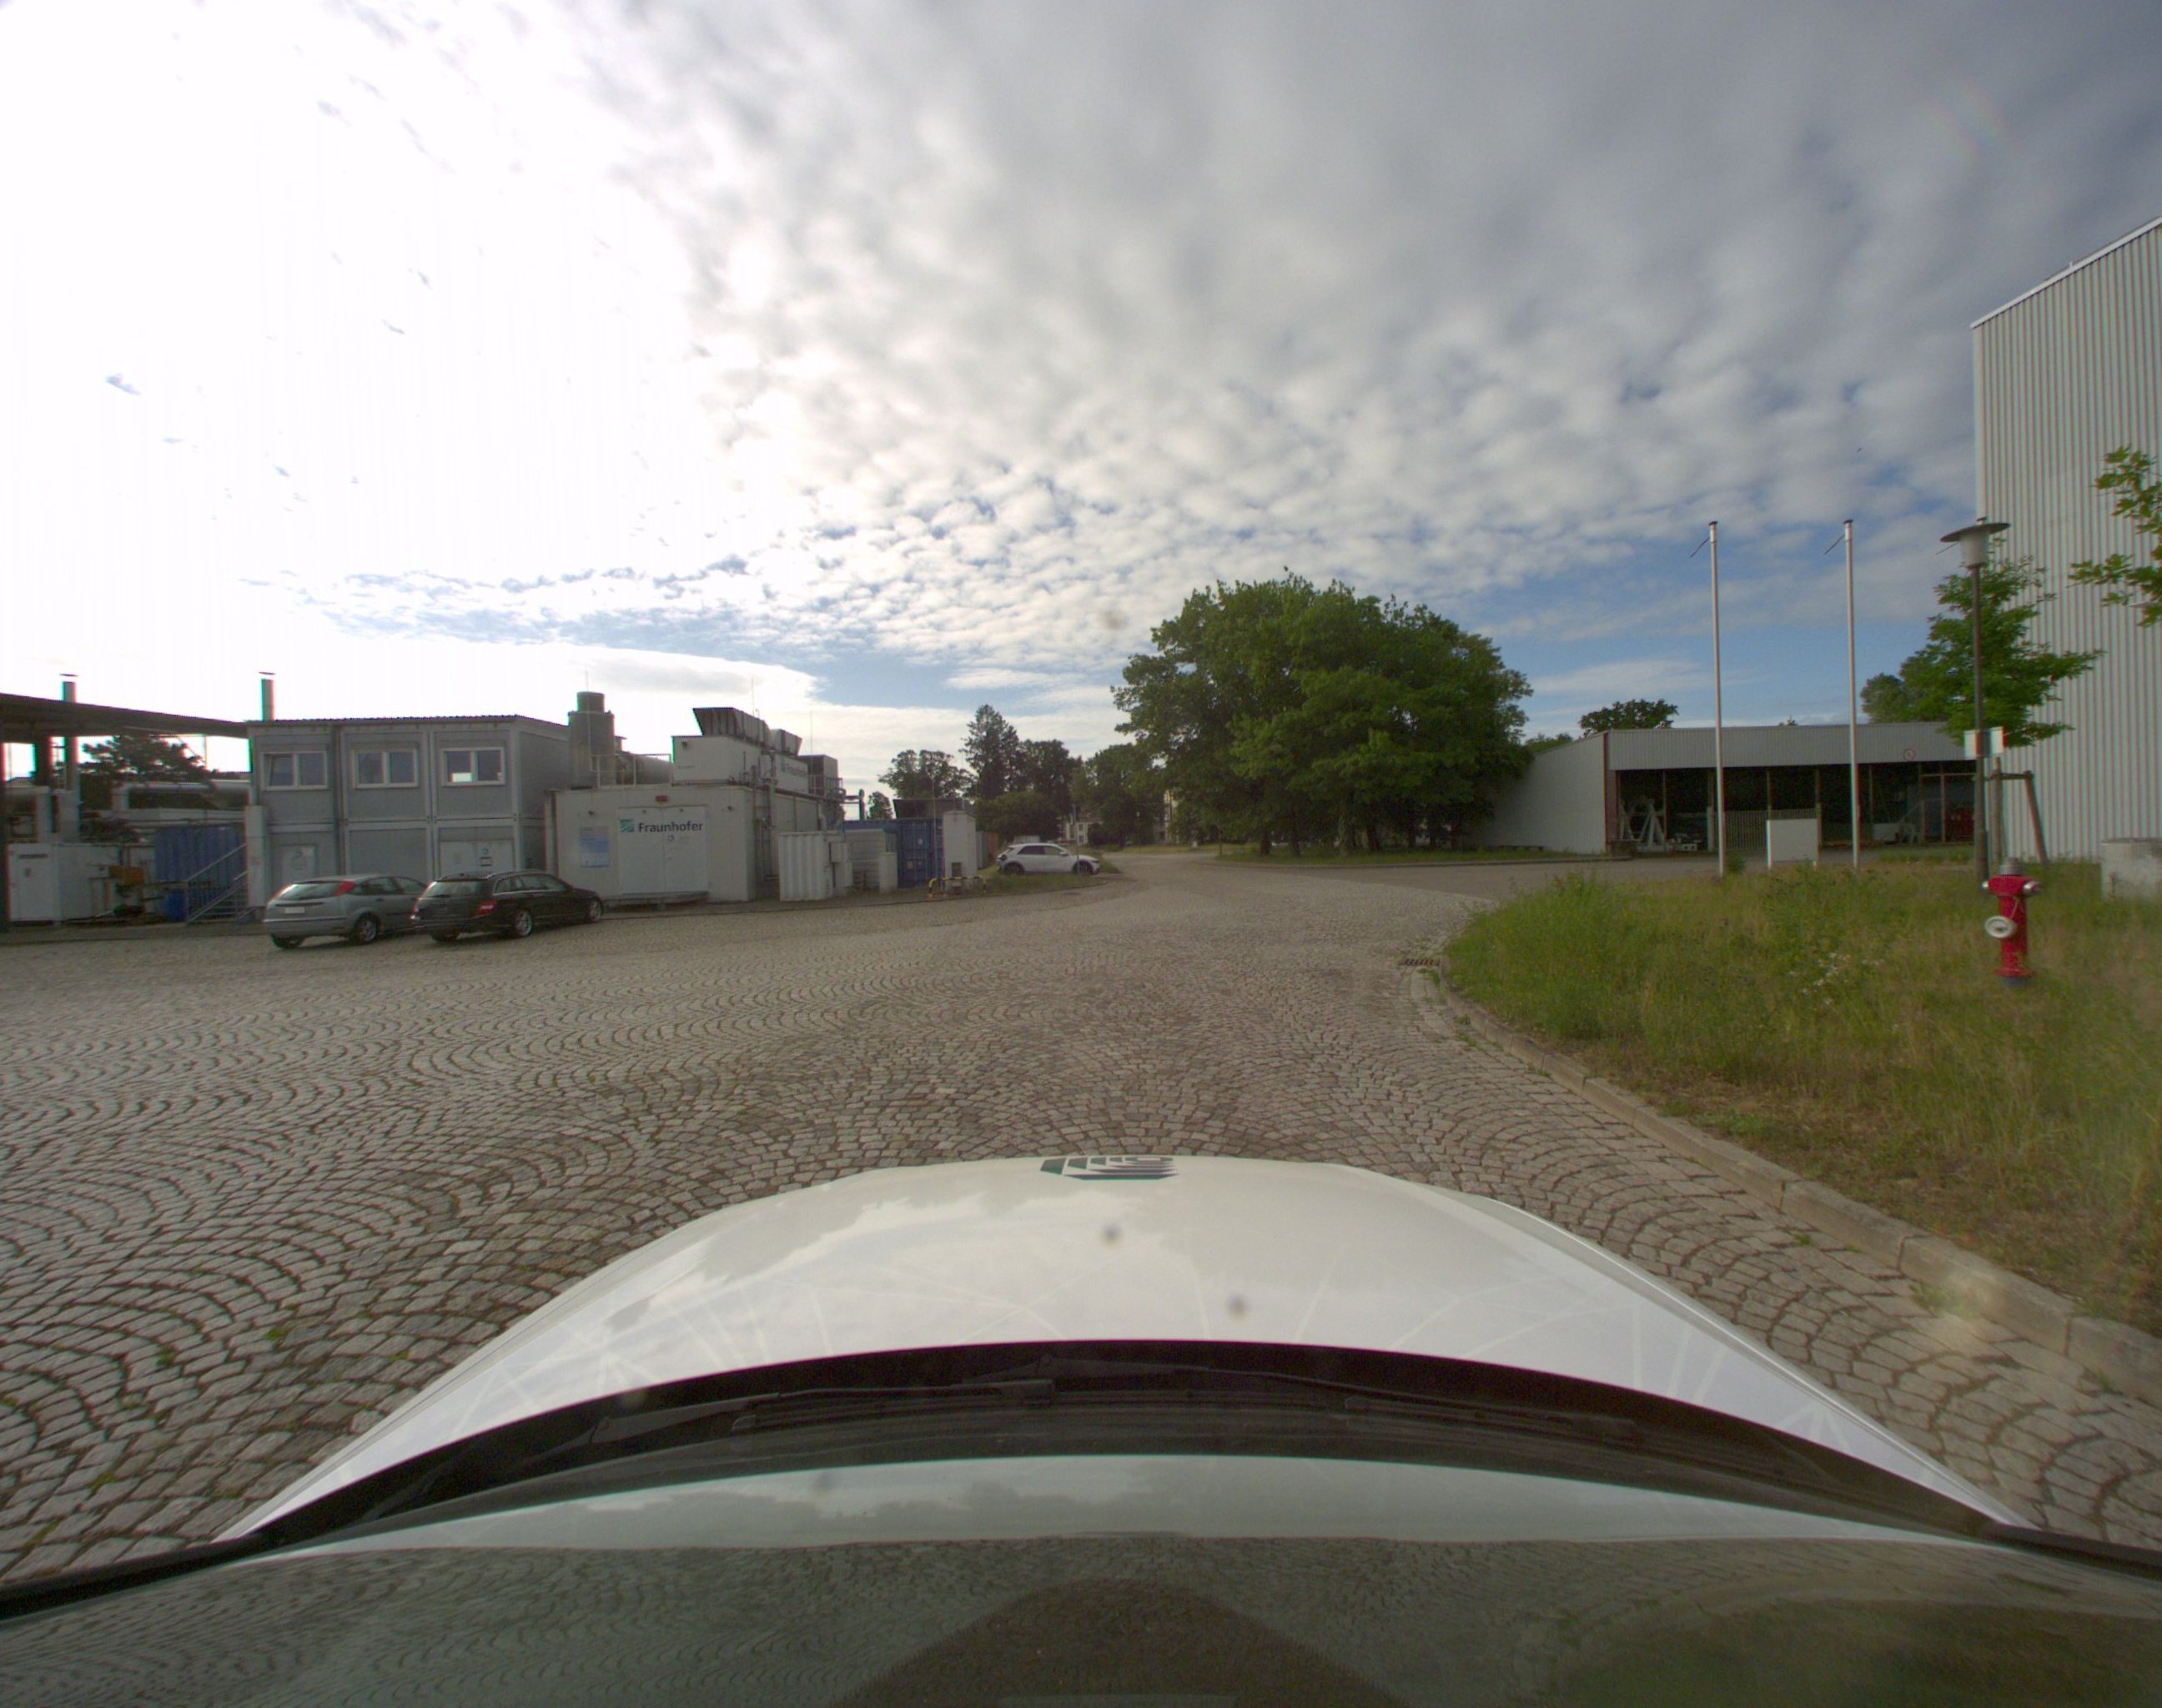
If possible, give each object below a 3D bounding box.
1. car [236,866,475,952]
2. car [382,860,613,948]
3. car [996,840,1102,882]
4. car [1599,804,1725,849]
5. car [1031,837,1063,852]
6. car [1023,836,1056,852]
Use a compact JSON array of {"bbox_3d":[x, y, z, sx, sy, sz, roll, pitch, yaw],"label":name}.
[{"bbox_3d":[-16.148,1.139,18.473,1.903,1.475,4.041,-2,2,-5],"label":"car"},{"bbox_3d":[-12.902,1.011,18.480,2.031,1.453,4.526,-2,2,-3],"label":"car"},{"bbox_3d":[-1.390,0.292,36.189,4.520,1.599,2.000,-2,1,-1],"label":"car"},{"bbox_3d":[28.806,-1.317,40.686,2.237,2.013,5.330,-2,1,-4],"label":"car"},{"bbox_3d":[-5.734,-1.599,137.587,5.159,2.337,1.998,-2,0,-3],"label":"car"},{"bbox_3d":[-6.498,-1.535,127.977,5.159,2.337,1.998,-2,0,-3],"label":"car"}]
